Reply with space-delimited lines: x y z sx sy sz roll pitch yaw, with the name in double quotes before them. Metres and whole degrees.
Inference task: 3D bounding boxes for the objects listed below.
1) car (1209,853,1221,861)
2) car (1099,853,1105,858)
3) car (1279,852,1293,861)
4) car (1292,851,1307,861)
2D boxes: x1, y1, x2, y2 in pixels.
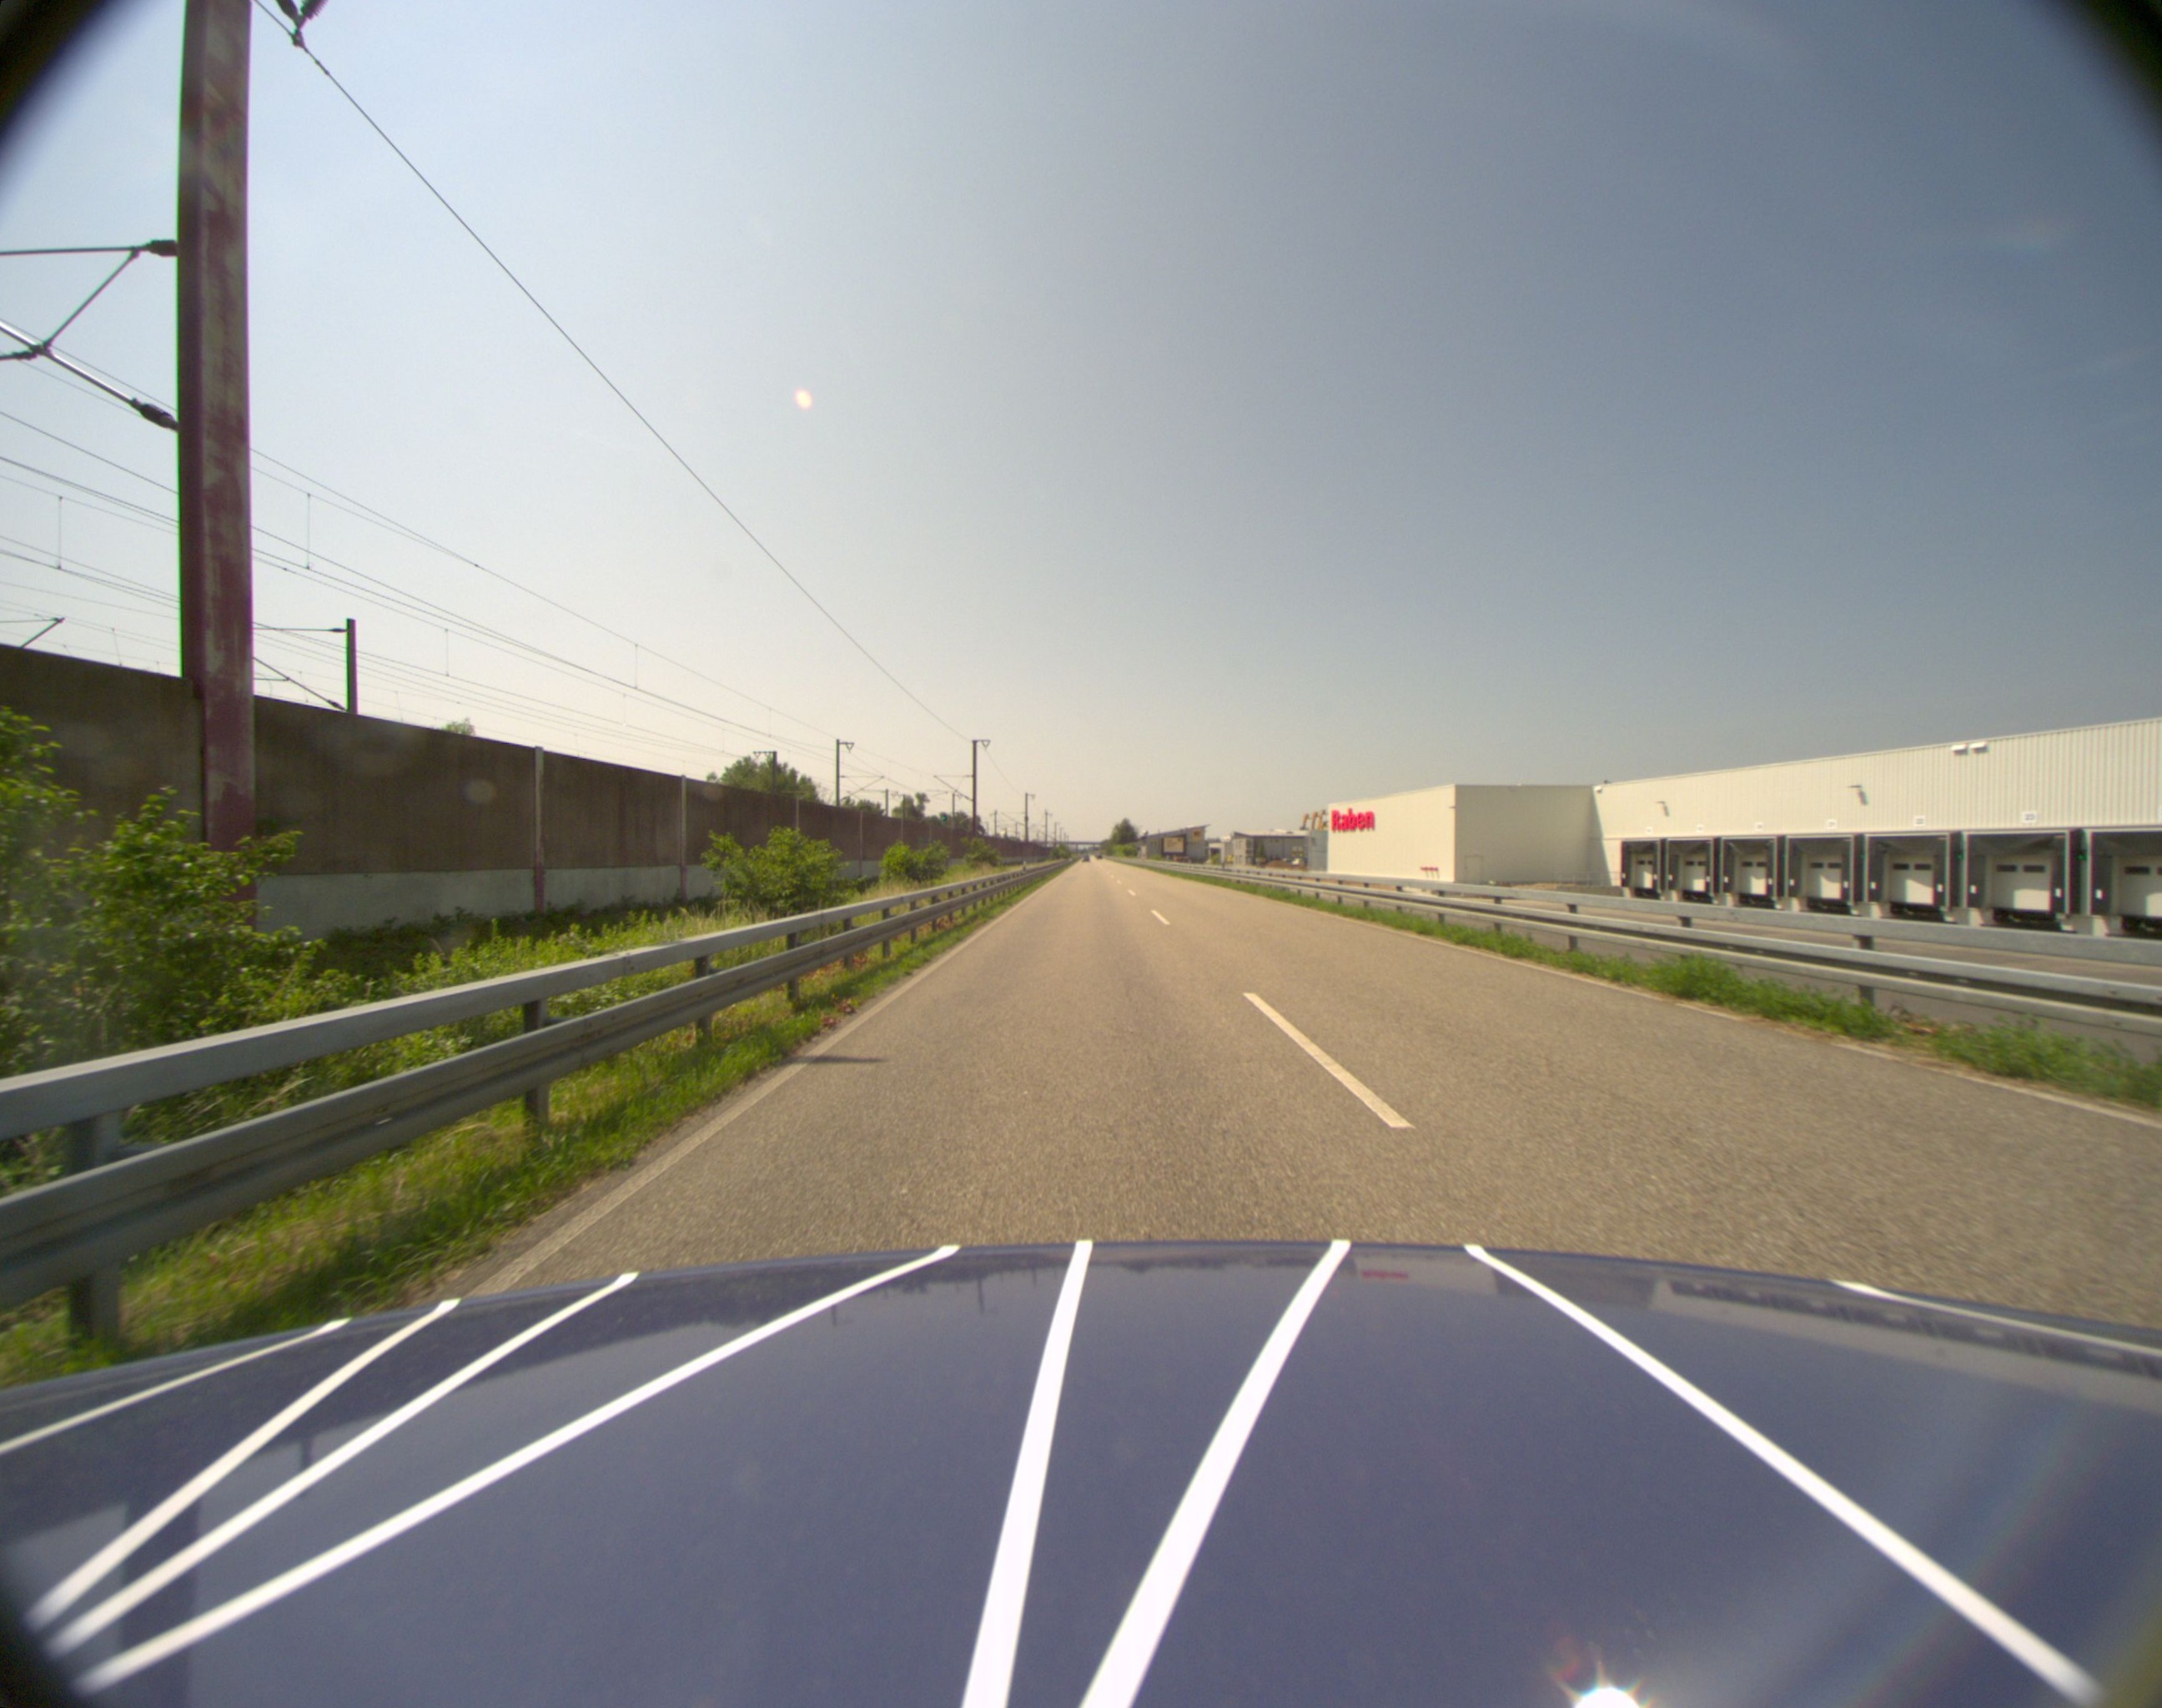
"car" 28.209 0.607 160.065 1.555 1.664 3.311 0 1 -5
"car" 6.480 0.466 233.043 1.544 1.427 3.654 -1 0 0
"car" 43.251 0.509 160.321 1.999 2.002 3.999 0 1 -1
"car" 46.133 0.475 160.398 1.999 2.002 3.999 0 1 -1
